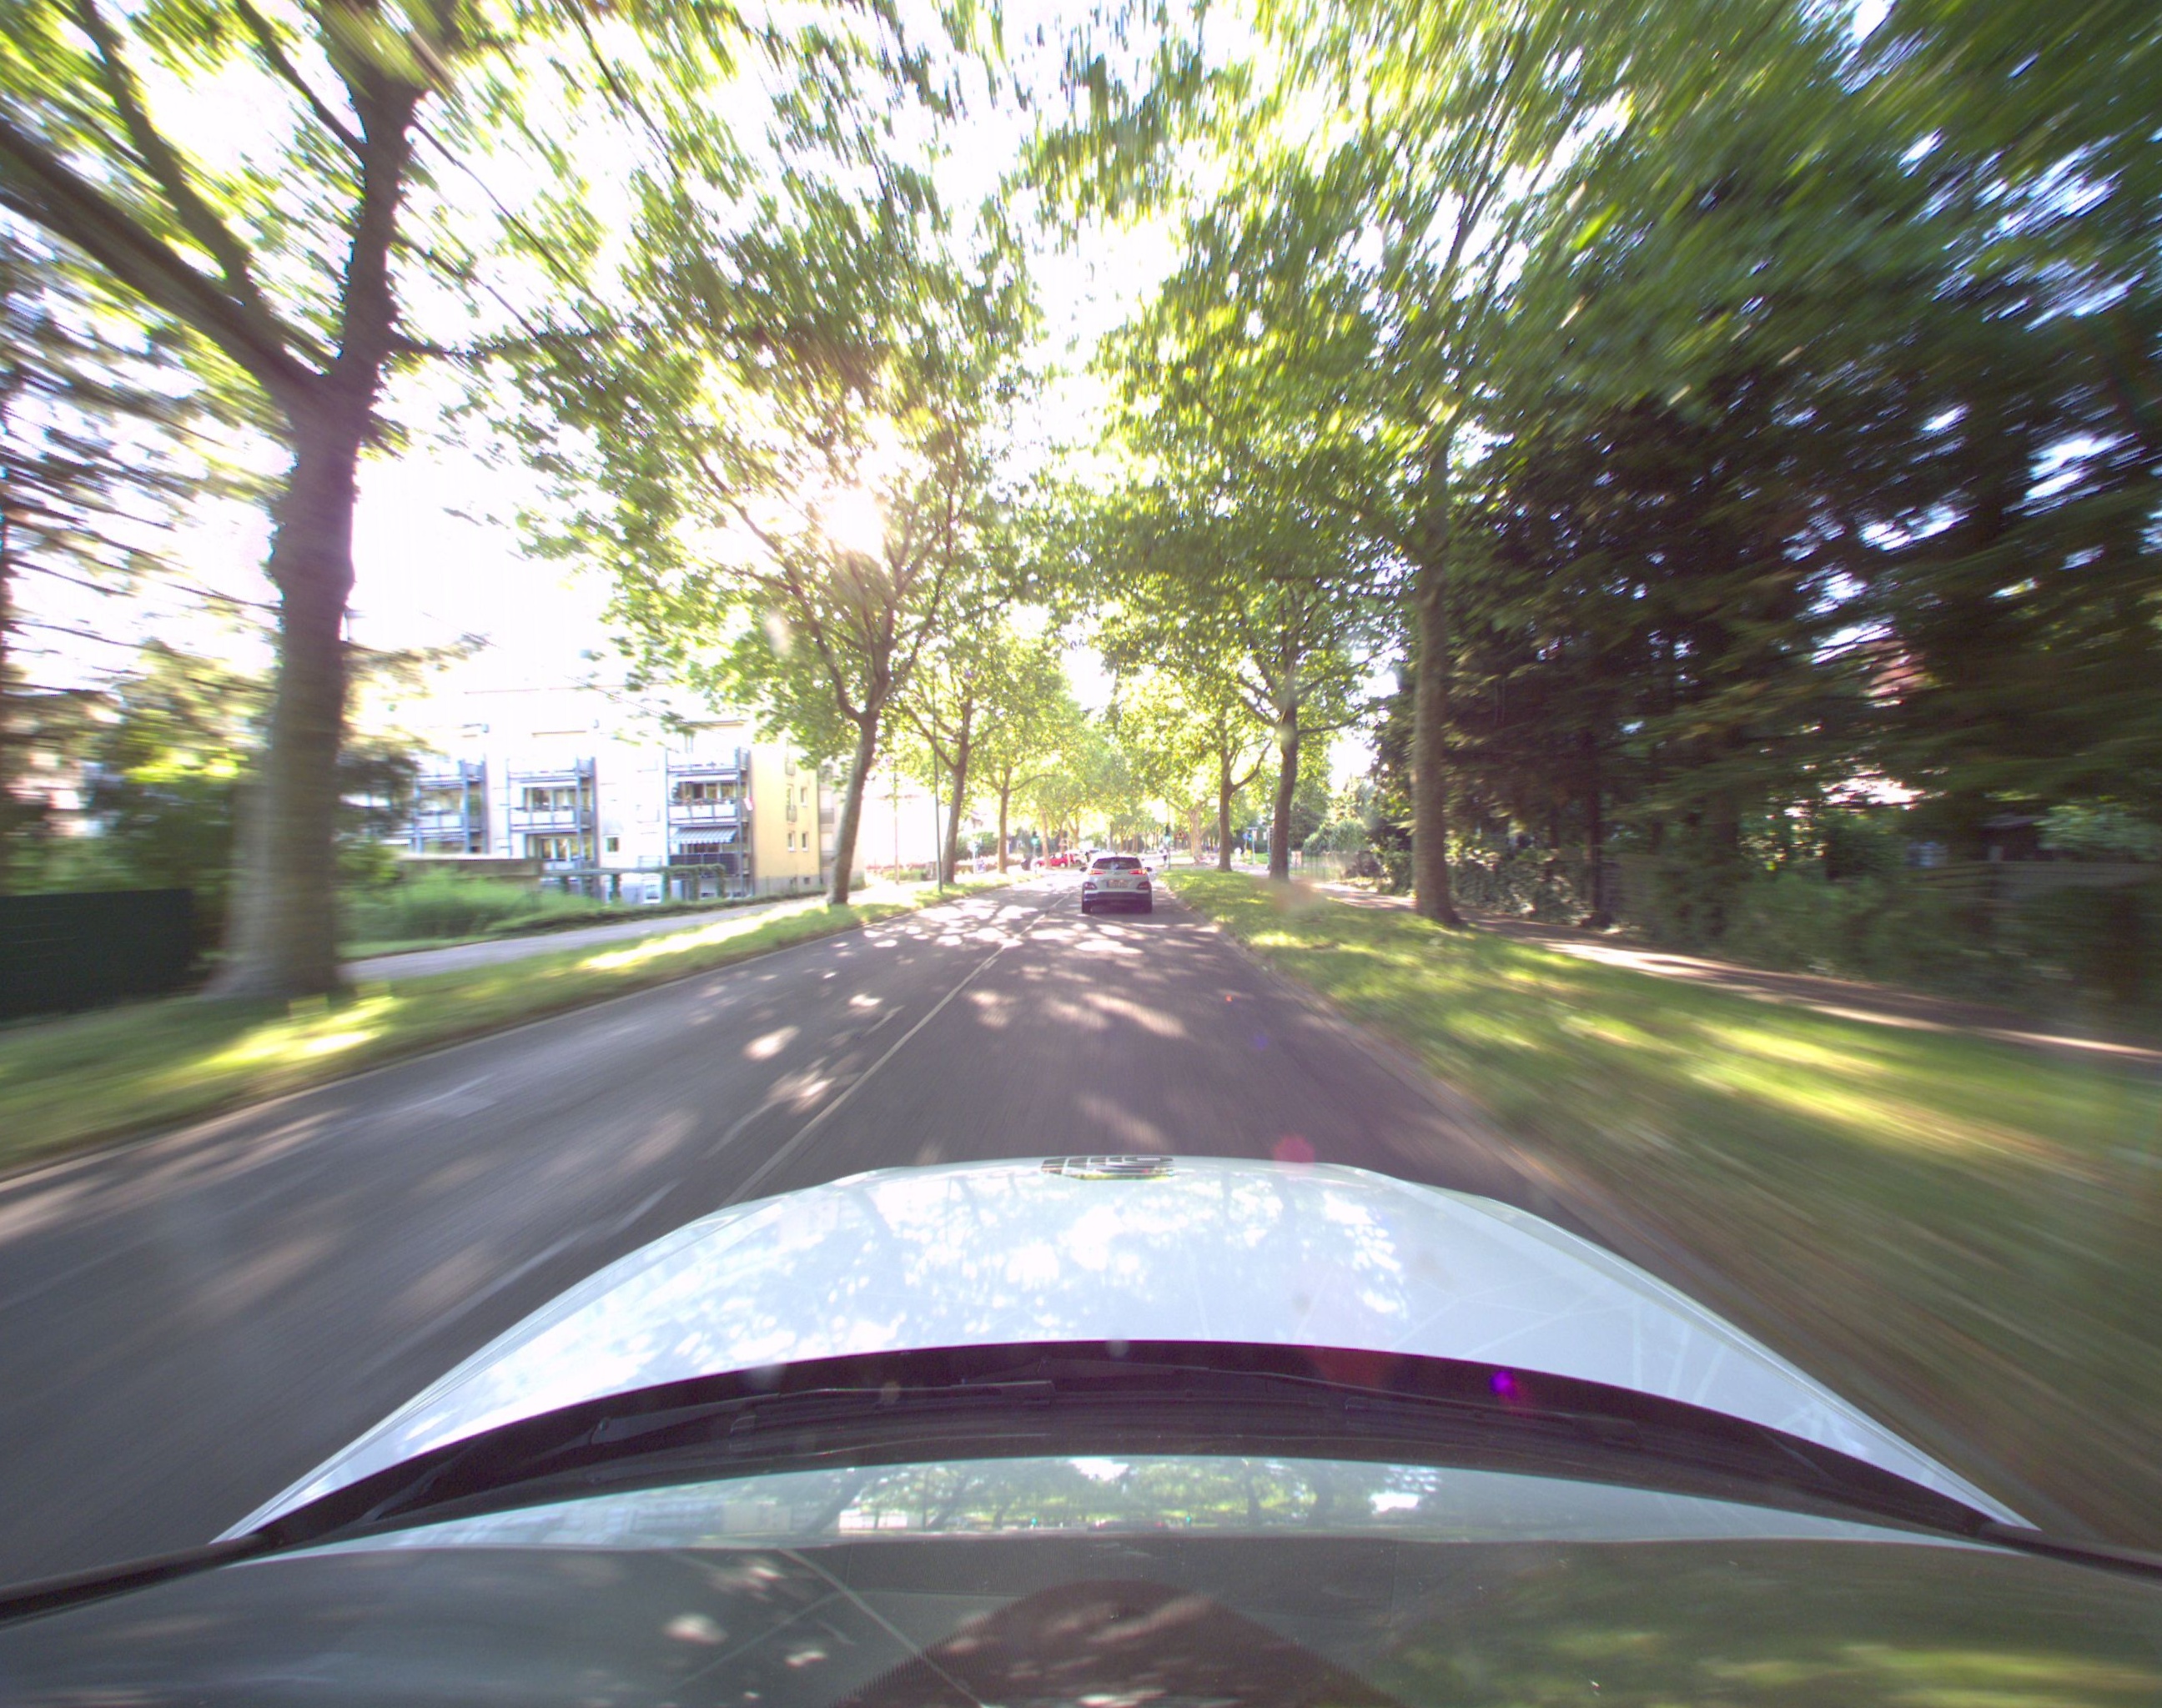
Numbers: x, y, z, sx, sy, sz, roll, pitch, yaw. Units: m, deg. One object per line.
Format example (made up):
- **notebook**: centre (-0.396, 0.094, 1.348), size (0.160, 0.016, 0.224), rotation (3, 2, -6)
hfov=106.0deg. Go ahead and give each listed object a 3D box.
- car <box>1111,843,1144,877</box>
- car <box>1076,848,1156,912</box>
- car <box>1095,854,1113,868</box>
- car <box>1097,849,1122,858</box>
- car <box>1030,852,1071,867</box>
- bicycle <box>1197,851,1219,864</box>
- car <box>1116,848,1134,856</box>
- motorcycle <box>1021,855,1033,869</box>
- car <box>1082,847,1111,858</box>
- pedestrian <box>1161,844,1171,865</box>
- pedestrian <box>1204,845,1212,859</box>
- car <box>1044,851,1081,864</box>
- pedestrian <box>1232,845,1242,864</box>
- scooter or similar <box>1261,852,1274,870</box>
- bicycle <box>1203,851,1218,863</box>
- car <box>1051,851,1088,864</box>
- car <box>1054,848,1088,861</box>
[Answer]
- **car**: centre (2.901, 0.376, 51.535), size (1.986, 2.014, 4.001), rotation (-1, 0, 2)
- **car**: centre (0.977, 0.664, 22.292), size (1.985, 1.574, 4.003), rotation (-1, 0, 3)
- **car**: centre (2.421, 0.738, 85.570), size (1.680, 1.437, 3.686), rotation (-1, 1, 4)
- **car**: centre (4.795, -0.010, 137.046), size (3.969, 1.478, 2.002), rotation (-1, 0, 4)
- **car**: centre (-3.107, 0.552, 83.700), size (3.969, 1.478, 2.002), rotation (-1, 0, 4)
- **bicycle**: centre (11.829, 0.333, 75.938), size (0.608, 1.164, 2.125), rotation (0, -1, -40)
- **car**: centre (9.456, -0.407, 174.738), size (3.664, 1.808, 1.746), rotation (-1, 0, -6)
- **motorcycle**: centre (-5.235, 0.797, 79.337), size (0.842, 1.378, 2.779), rotation (-1, 0, 3)
- **car**: centre (2.194, -0.145, 113.010), size (3.969, 1.478, 2.002), rotation (-1, 0, 4)
- **pedestrian**: centre (8.183, 0.037, 78.292), size (0.862, 2.014, 0.816), rotation (-1, -1, 12)
- **pedestrian**: centre (18.104, -0.340, 116.427), size (1.088, 2.013, 1.108), rotation (-1, 0, 10)
- **car**: centre (-2.019, 0.410, 91.186), size (3.969, 1.478, 2.002), rotation (-1, 0, 4)
- **pedestrian**: centre (14.732, 0.027, 76.802), size (0.828, 1.736, 0.888), rotation (-1, -1, 12)
- **scooter or similar**: centre (13.212, 0.498, 57.741), size (0.547, 1.258, 2.316), rotation (-1, 0, 5)
- **bicycle**: centre (12.297, 0.282, 77.216), size (0.604, 1.183, 2.107), rotation (0, 0, -15)
- **car**: centre (-1.299, 0.427, 93.506), size (3.967, 1.478, 2.003), rotation (-1, 0, 5)
- **car**: centre (-1.175, 0.099, 97.514), size (3.969, 1.478, 2.002), rotation (-1, 0, 4)
